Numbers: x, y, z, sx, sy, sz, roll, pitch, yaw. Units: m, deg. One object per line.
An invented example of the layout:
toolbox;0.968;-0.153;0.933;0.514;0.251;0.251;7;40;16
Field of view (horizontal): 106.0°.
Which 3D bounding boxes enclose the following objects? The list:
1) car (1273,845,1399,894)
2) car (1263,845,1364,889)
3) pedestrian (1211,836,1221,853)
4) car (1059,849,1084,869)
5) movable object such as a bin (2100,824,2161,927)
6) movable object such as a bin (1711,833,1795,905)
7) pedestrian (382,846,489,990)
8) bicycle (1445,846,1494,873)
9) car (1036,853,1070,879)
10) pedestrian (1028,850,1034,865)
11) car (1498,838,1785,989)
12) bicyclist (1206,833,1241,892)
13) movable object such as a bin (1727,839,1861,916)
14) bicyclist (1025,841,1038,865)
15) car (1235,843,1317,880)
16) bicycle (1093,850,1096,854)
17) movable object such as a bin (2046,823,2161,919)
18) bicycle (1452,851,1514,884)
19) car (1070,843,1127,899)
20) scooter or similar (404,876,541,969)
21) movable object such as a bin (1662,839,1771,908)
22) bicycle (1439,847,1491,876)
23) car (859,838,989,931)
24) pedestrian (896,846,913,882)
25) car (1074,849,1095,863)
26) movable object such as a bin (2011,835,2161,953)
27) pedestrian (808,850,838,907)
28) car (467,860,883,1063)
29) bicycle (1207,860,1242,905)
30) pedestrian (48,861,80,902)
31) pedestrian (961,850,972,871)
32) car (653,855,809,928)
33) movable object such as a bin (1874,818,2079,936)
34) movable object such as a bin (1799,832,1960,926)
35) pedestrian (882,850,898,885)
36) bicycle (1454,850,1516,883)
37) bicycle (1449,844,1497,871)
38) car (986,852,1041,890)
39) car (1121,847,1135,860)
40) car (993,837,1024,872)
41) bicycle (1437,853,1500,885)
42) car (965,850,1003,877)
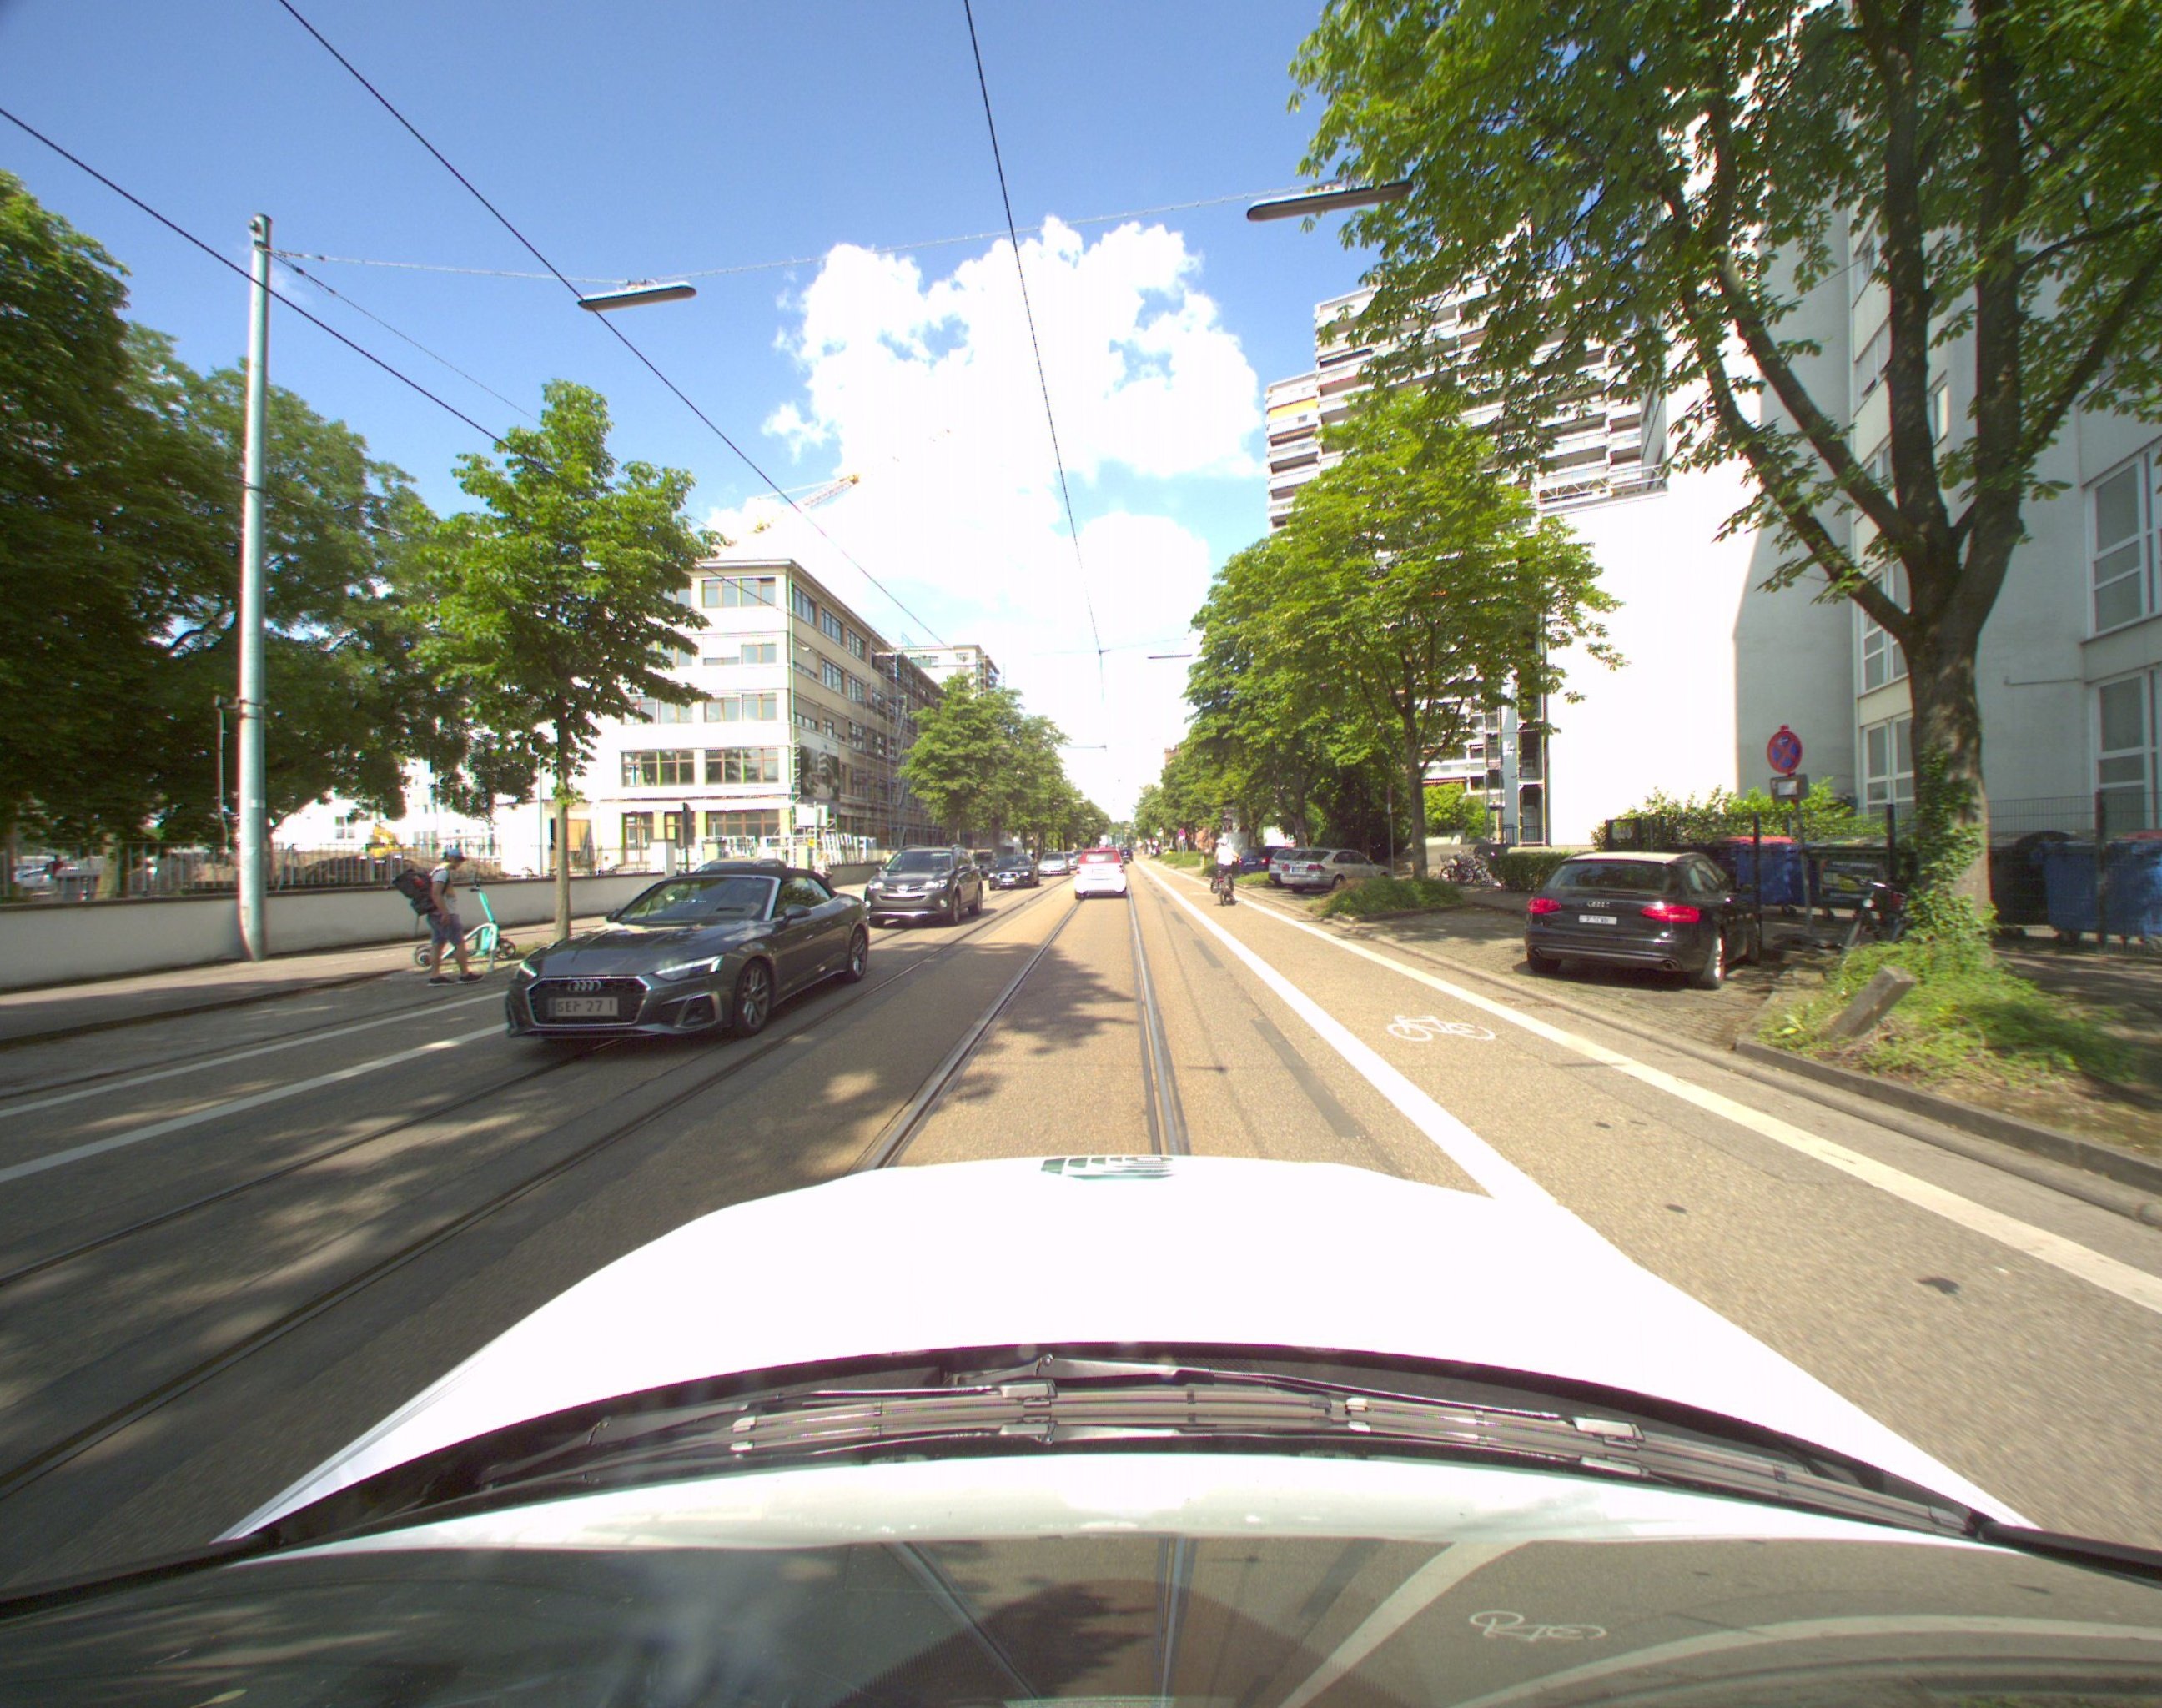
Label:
car;8.378;0.449;26.607;4.261;1.420;1.705;-1;1;-36
car;8.522;0.435;29.717;3.824;1.474;1.634;-1;1;-39
pedestrian;16.458;-1.156;99.281;0.973;2.013;1.094;0;0;1
car;-0.698;0.377;63.166;1.680;1.405;4.229;-2;0;3
movable object such as a bin;16.368;0.282;11.899;1.362;1.447;1.271;-3;0;24
movable object such as a bin;14.433;0.290;17.543;1.252;1.480;0.943;0;1;30
pedestrian;-8.224;0.784;10.417;0.749;1.766;0.789;0;0;-6
bicycle;16.522;0.229;34.676;1.809;1.095;0.454;-1;1;33
car;-1.698;0.721;50.090;1.766;1.416;3.854;-3;0;2
pedestrian;-6.905;0.501;112.543;0.802;2.013;0.484;-1;0;-7
car;7.076;0.585;10.076;4.561;1.442;2.007;1;0;-43
bicyclist;3.803;0.216;21.820;0.884;1.528;1.088;0;0;8
movable object such as a bin;12.933;0.405;14.841;1.270;1.336;1.359;0;0;1
bicyclist;-4.121;-0.069;68.112;0.873;2.014;0.834;-3;-1;1
car;8.763;0.318;36.432;4.023;1.486;1.596;-3;0;-43
bicycle;3.348;-0.400;197.062;0.616;0.973;1.716;-1;0;-1
movable object such as a bin;17.144;0.263;13.275;1.362;1.447;1.271;-3;0;24
bicycle;14.085;0.482;28.552;1.877;1.096;0.454;-2;0;33
car;0.576;0.484;25.920;1.659;1.624;3.623;-1;1;2
scooter or similar;-8.856;0.978;11.898;1.334;1.279;0.855;0;0;1
movable object such as a bin;12.839;0.379;16.509;1.270;1.336;1.237;0;0;1
bicycle;15.377;0.313;32.625;1.809;1.095;0.454;-2;3;33
car;-3.292;0.585;17.953;1.819;1.727;4.393;-2;0;2
pedestrian;-9.166;0.506;42.320;0.706;1.831;0.661;2;1;-3
car;0.421;0.235;88.980;1.791;1.508;4.544;-1;0;6
movable object such as a bin;12.531;0.440;9.750;1.270;1.318;1.326;-1;0;2
pedestrian;-7.650;0.713;24.141;0.730;1.637;0.685;0;0;-32
car;-3.545;0.810;8.234;1.792;1.388;4.428;-2;0;2
bicycle;3.807;0.735;21.786;0.870;1.126;2.141;0;0;9
pedestrian;-41.149;1.106;32.949;0.586;1.620;0.772;-1;0;41
pedestrian;-9.175;0.509;65.313;0.761;1.620;0.594;0;0;2
car;-8.119;0.796;19.406;1.744;1.516;4.591;0;0;0
movable object such as a bin;12.478;0.308;11.435;1.270;1.539;1.470;-1;0;2
movable object such as a bin;12.912;0.369;13.228;1.273;1.437;1.350;1;1;-5
pedestrian;-9.957;0.685;42.422;0.706;1.793;0.661;0;0;-3
bicycle;14.362;0.451;28.972;1.877;1.096;0.454;-2;0;33
bicycle;17.170;0.159;35.686;1.809;1.096;0.454;-2;1;33
car;-2.712;0.664;33.611;1.716;1.376;4.001;-4;0;2
car;5.914;-0.098;102.621;1.659;1.624;3.623;-1;0;2
car;-5.658;0.005;64.093;1.762;2.639;5.326;0;0;3
bicycle;13.491;0.531;28.368;1.877;1.053;0.454;-2;0;33
car;-6.341;0.593;53.429;1.797;1.662;4.106;0;0;3
